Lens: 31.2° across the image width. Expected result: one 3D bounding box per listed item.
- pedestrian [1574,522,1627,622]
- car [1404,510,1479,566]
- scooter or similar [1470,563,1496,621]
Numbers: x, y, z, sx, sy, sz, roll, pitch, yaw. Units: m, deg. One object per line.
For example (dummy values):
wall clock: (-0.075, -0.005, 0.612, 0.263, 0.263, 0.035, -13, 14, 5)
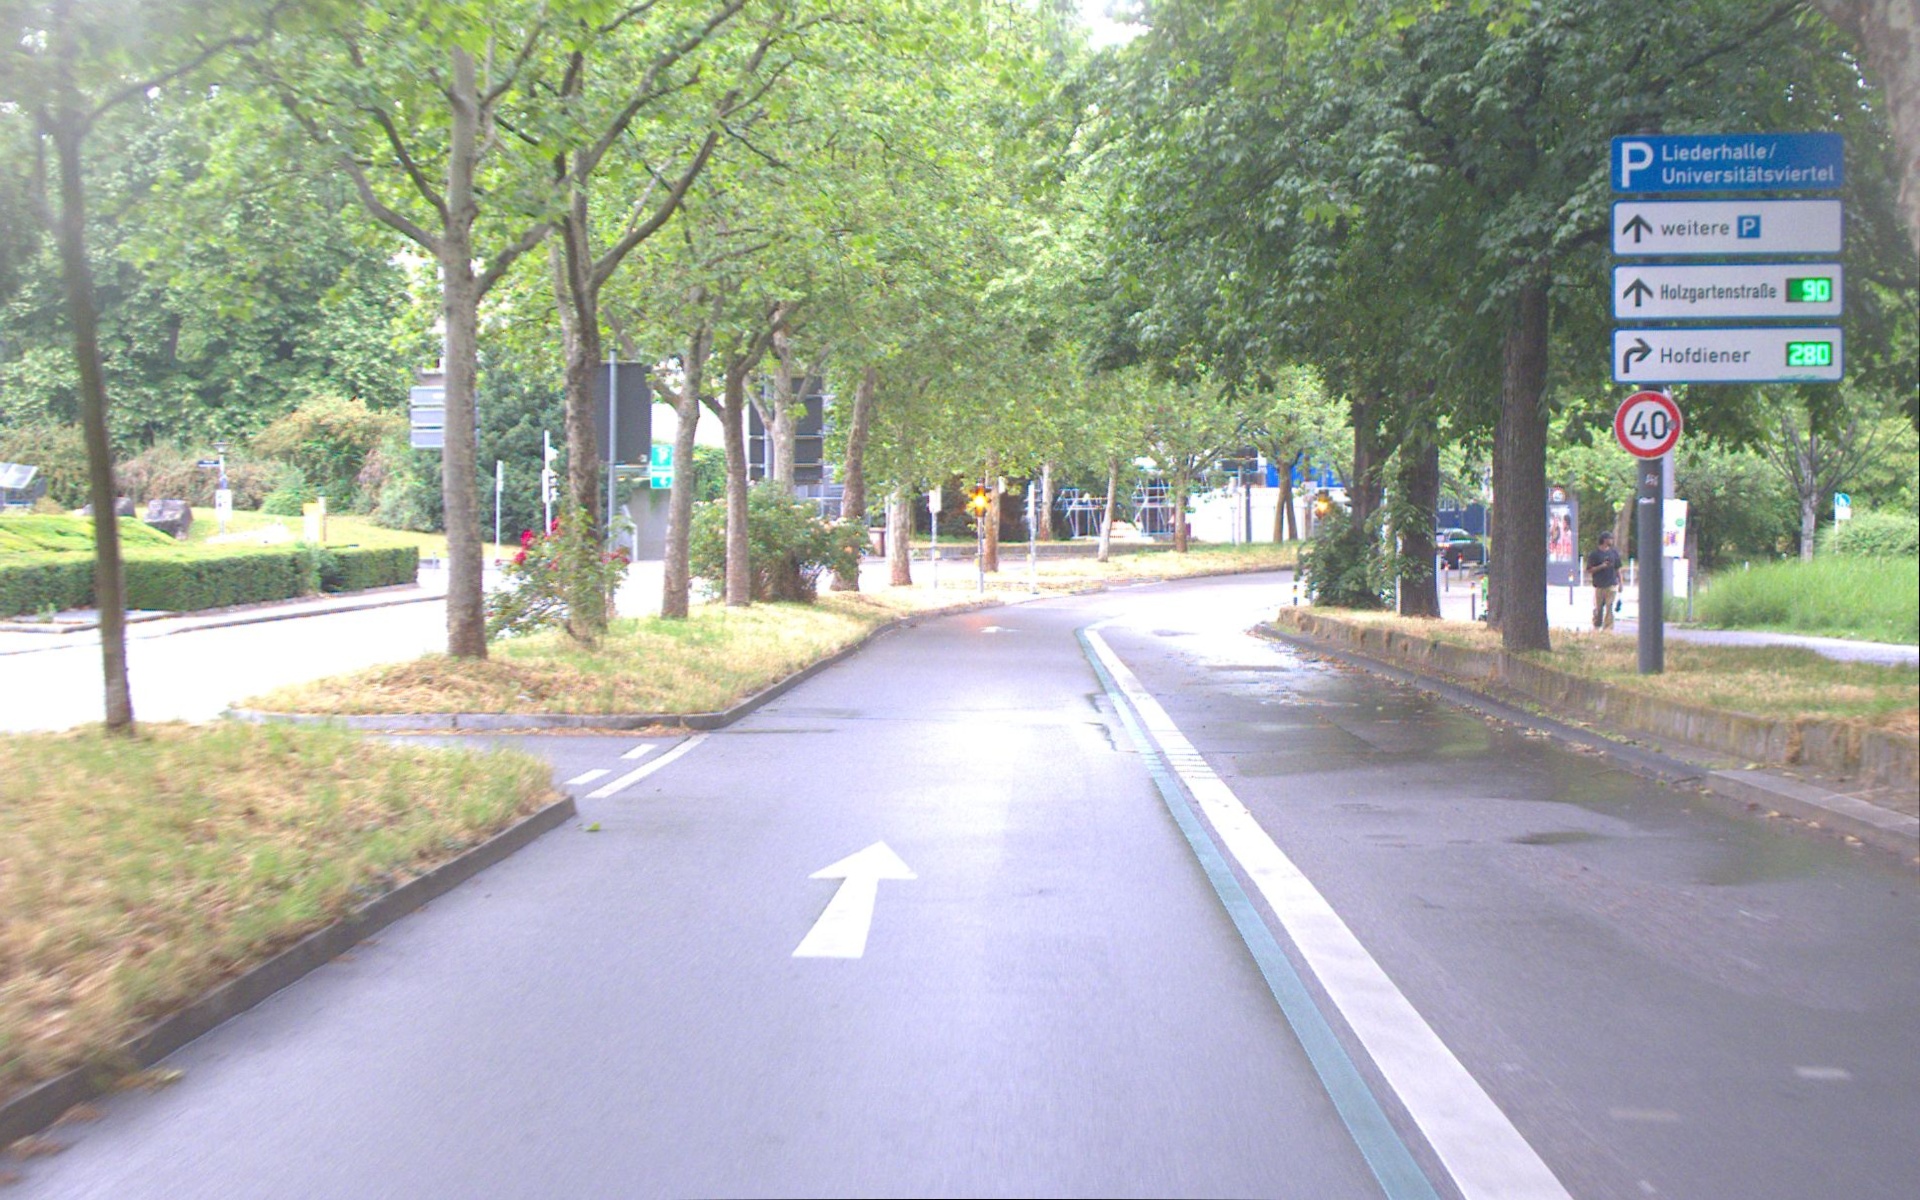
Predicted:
pedestrian: (10.562, -0.465, 56.712, 0.703, 1.633, 0.935, 0, 1, 0)
car: (17.645, -2.279, 125.868, 1.995, 2.007, 3.996, 1, 1, 19)
scooter or similar: (9.328, -0.144, 61.297, 0.292, 1.022, 1.066, 0, 1, 0)
